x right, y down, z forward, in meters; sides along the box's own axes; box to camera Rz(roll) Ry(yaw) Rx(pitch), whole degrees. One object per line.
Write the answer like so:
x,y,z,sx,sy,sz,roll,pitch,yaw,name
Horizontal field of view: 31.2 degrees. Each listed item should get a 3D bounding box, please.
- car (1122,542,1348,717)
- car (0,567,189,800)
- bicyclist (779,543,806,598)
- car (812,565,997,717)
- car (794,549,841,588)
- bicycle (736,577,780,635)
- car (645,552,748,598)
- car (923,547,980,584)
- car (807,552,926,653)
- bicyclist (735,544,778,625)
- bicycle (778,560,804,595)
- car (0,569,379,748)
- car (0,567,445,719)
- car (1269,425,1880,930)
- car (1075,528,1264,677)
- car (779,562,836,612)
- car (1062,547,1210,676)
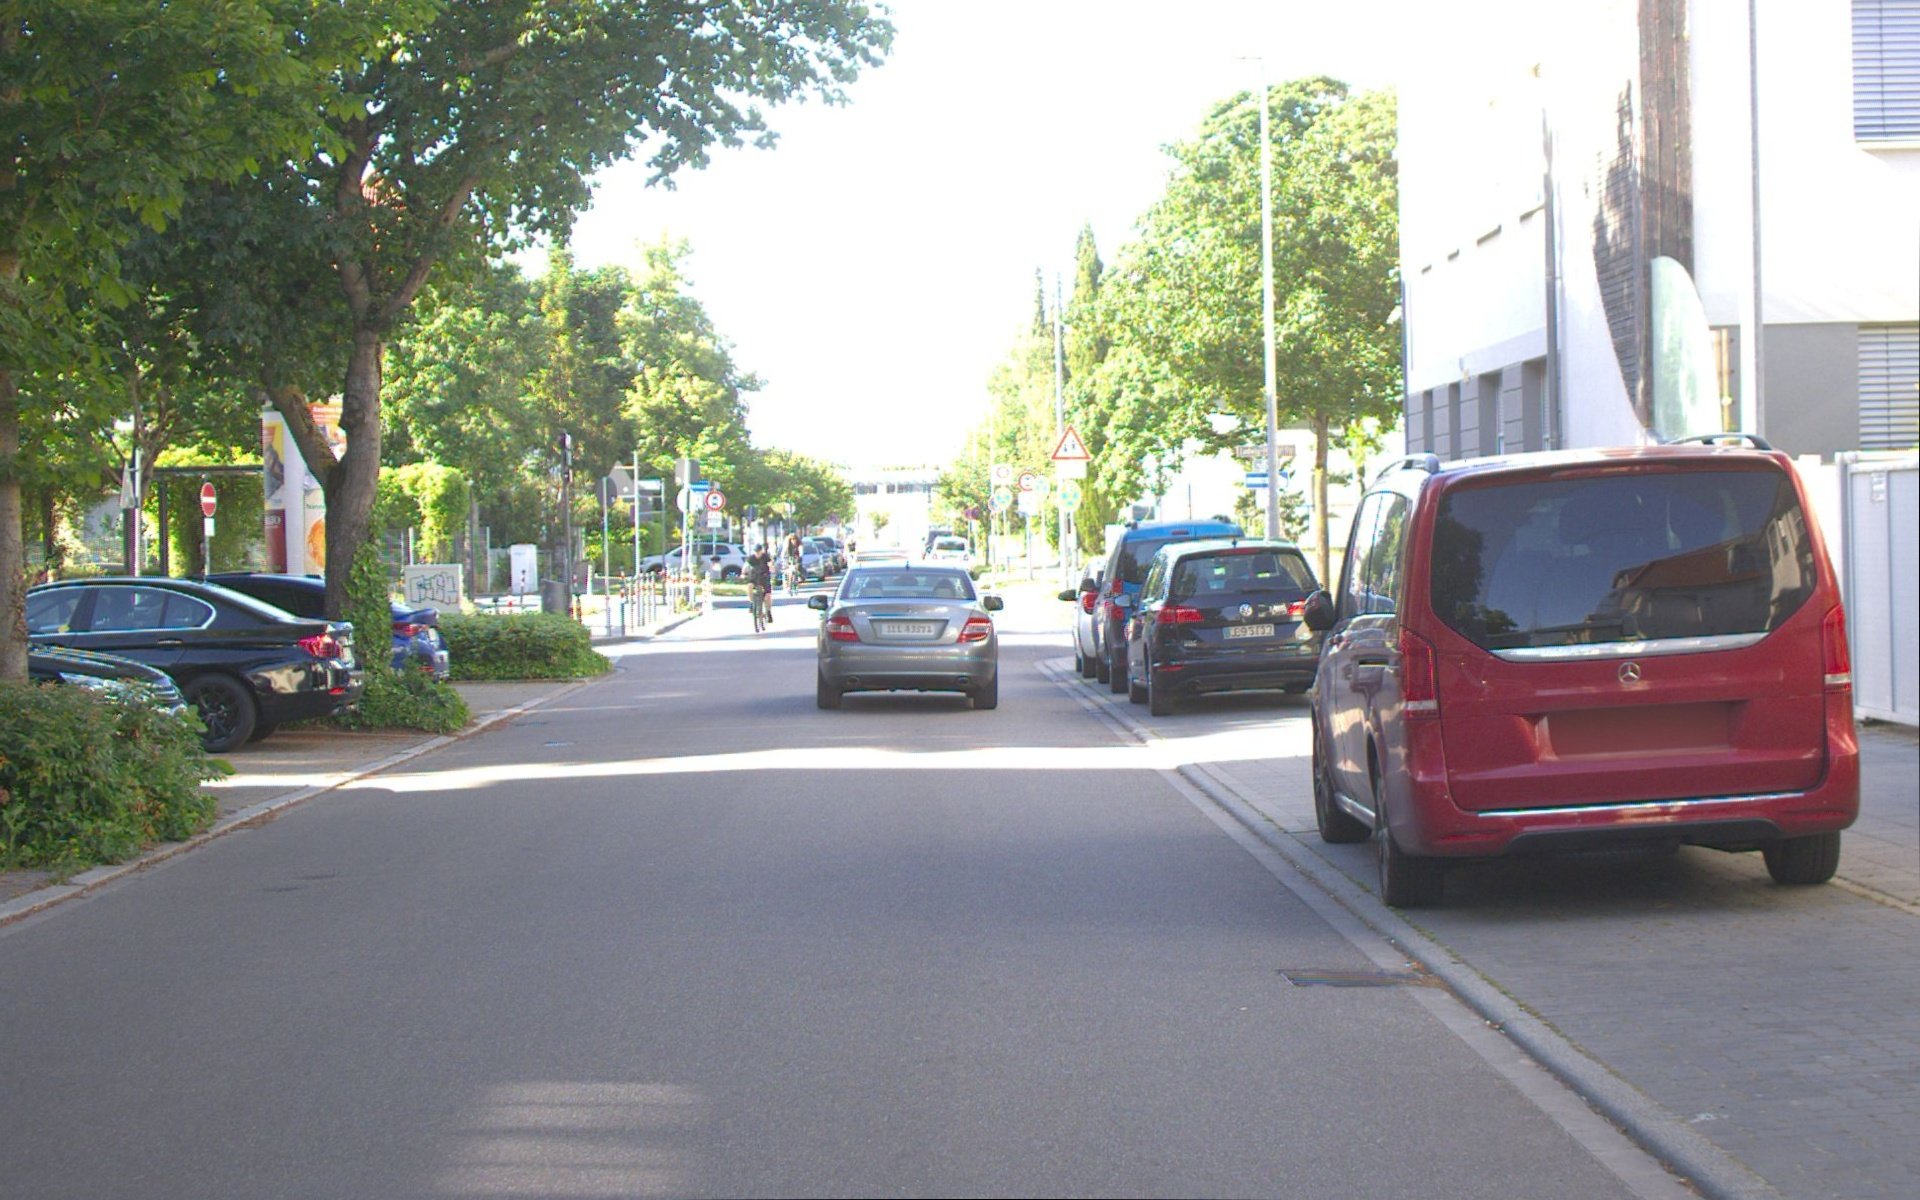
2.541,0.235,32.640,1.737,1.526,4.179,-1,1,-1,car
-7.397,0.517,23.026,4.171,1.495,2.000,1,0,-8,car
-4.649,-0.830,95.412,0.680,1.504,0.655,-1,1,1,bicyclist
-0.521,0.397,34.501,1.726,1.415,3.960,1,0,0,car
-6.148,-1.345,148.183,1.787,1.527,4.000,-2,-1,-5,car
-3.902,0.113,66.487,0.719,1.075,1.891,-2,1,0,bicycle
-9.169,-0.878,119.593,3.493,1.528,1.645,-1,1,-7,car
-0.334,-1.296,127.443,1.722,1.325,4.001,-1,1,-5,car
-1.413,0.040,52.195,1.707,1.443,4.203,1,0,-1,car
-3.928,-0.304,66.454,0.721,1.531,1.137,-2,1,-1,bicyclist
-4.693,-0.624,95.377,0.589,0.928,1.850,-1,1,0,bicycle
-7.294,0.483,29.145,4.473,1.474,1.869,0,0,-2,car
-7.492,0.425,34.343,4.473,1.474,1.869,0,0,-2,car
2.625,0.294,15.990,1.871,1.898,5.197,-2,0,0,car
2.284,0.037,38.375,1.682,1.430,4.266,-5,0,-1,car
-5.573,-0.483,125.150,1.872,1.722,4.001,-1,1,-5,car
2.145,0.142,42.739,1.564,1.406,3.729,-5,0,0,car
